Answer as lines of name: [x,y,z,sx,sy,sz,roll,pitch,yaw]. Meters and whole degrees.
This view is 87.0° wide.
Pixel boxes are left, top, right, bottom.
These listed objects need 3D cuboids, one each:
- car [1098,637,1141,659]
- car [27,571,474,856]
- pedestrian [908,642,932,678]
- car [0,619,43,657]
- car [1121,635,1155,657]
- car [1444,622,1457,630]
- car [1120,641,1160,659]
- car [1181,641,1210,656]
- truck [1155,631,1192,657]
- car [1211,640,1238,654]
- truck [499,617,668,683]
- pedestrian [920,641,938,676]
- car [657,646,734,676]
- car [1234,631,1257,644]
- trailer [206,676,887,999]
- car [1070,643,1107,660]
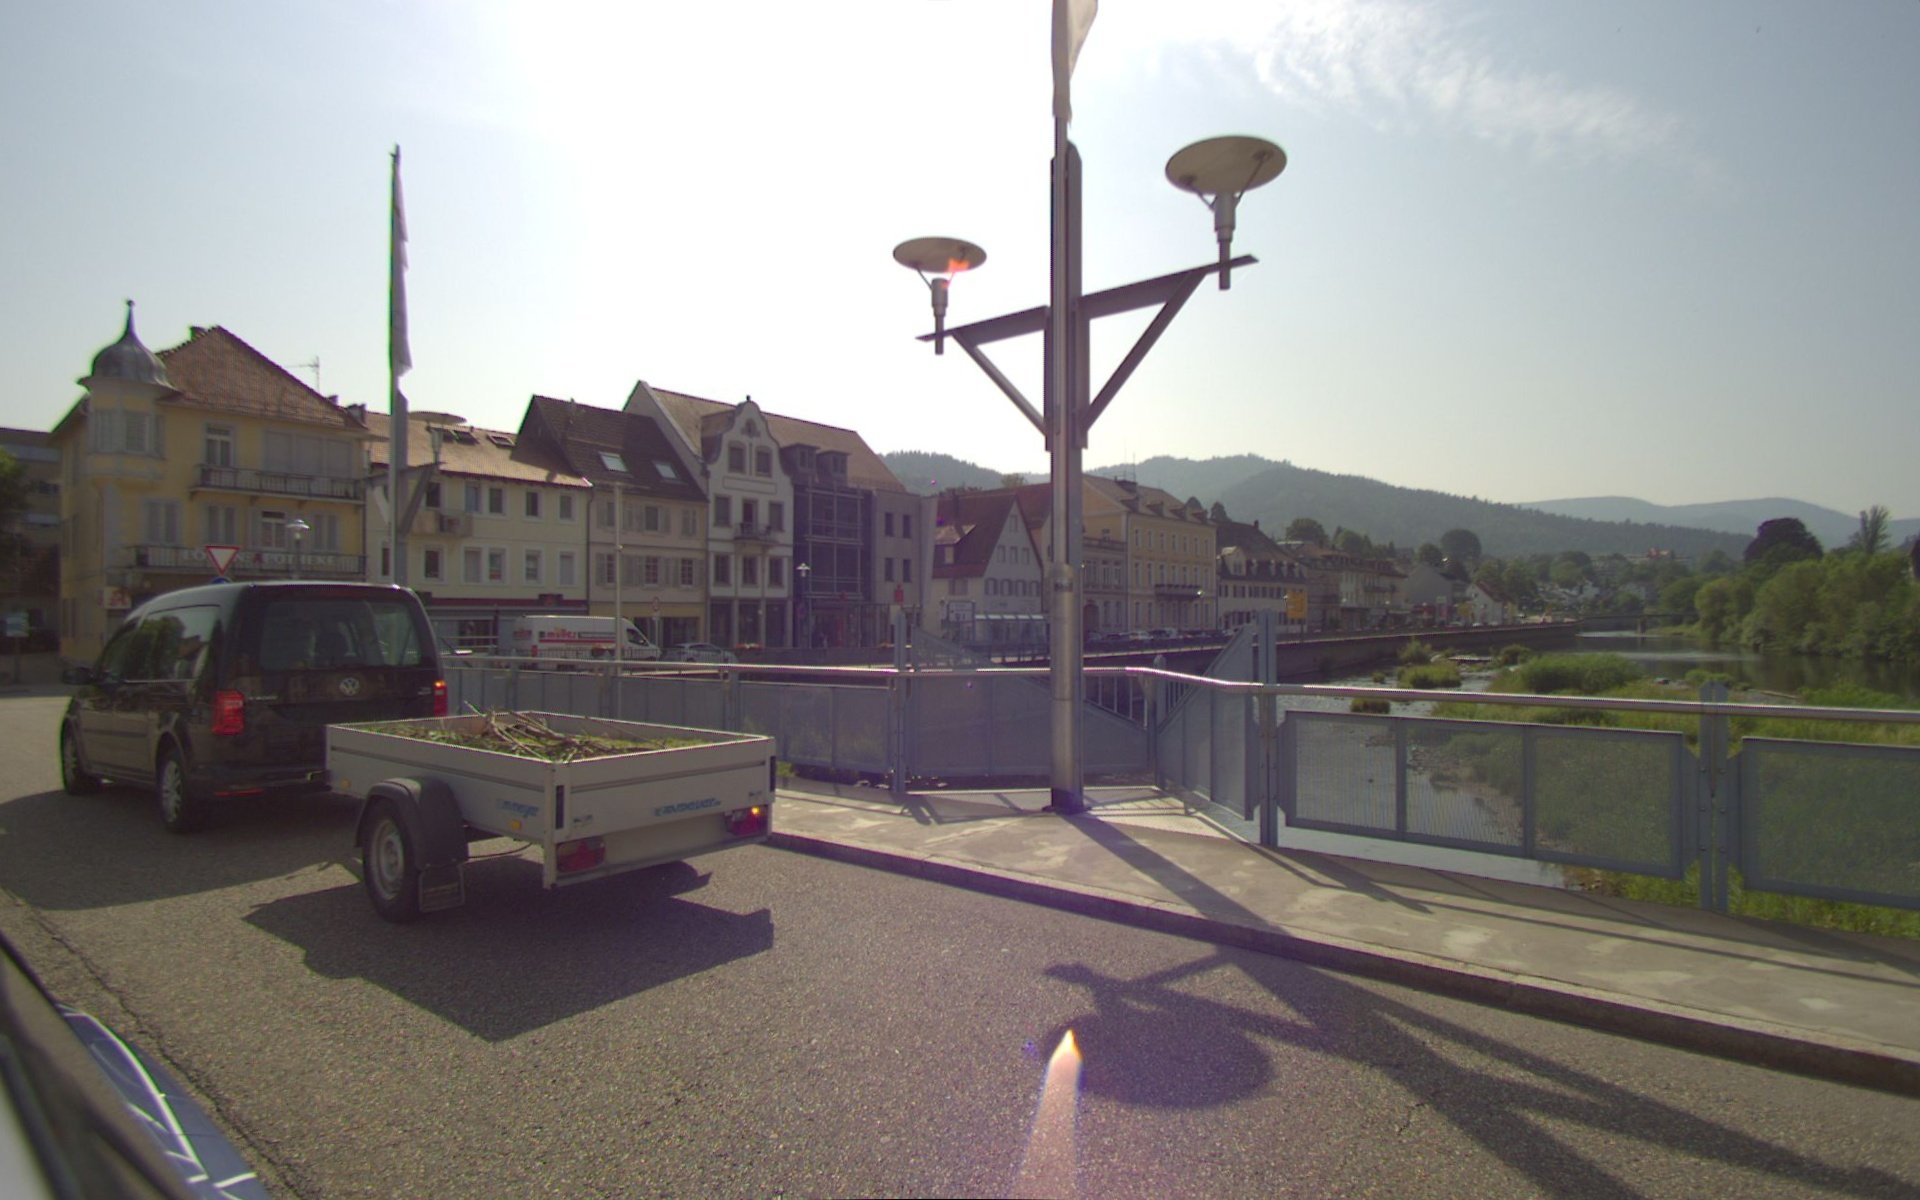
car: [12.317,3.710,78.107,1.680,1.572,3.923,-2,-1,35]
car: [-6.155,0.784,8.549,4.689,1.806,1.760,-2,-1,37]
pedestrian: [-1.958,2.922,49.479,0.869,1.719,0.767,-2,-2,40]
car: [-49.403,1.910,50.543,1.995,1.905,5.014,-2,-2,34]
car: [16.543,4.267,93.990,1.750,1.950,3.533,-2,-3,36]
car: [87.084,4.643,179.596,1.516,1.459,3.236,-2,-3,36]
car: [15.769,4.385,88.550,1.753,1.367,4.148,-3,-2,37]
car: [24.329,4.973,104.590,1.750,1.459,3.235,-2,-3,36]
truck: [21.161,4.348,100.273,1.750,2.487,4.603,-2,-3,36]
car: [28.518,5.044,109.170,1.750,1.459,3.235,-2,-3,36]
truck: [-16.653,2.220,45.222,2.108,2.720,7.043,-4,-4,37]
pedestrian: [-1.527,2.889,50.002,0.791,1.719,0.485,-2,-2,40]
car: [-14.078,3.216,53.988,1.750,1.459,3.747,-2,-3,36]
car: [32.489,4.264,115.210,1.516,1.459,3.236,-2,-3,36]
trailer: [-2.554,1.044,5.791,4.179,1.030,1.734,-1,-2,37]
car: [11.042,4.406,86.843,1.750,1.459,3.235,-2,-3,36]
